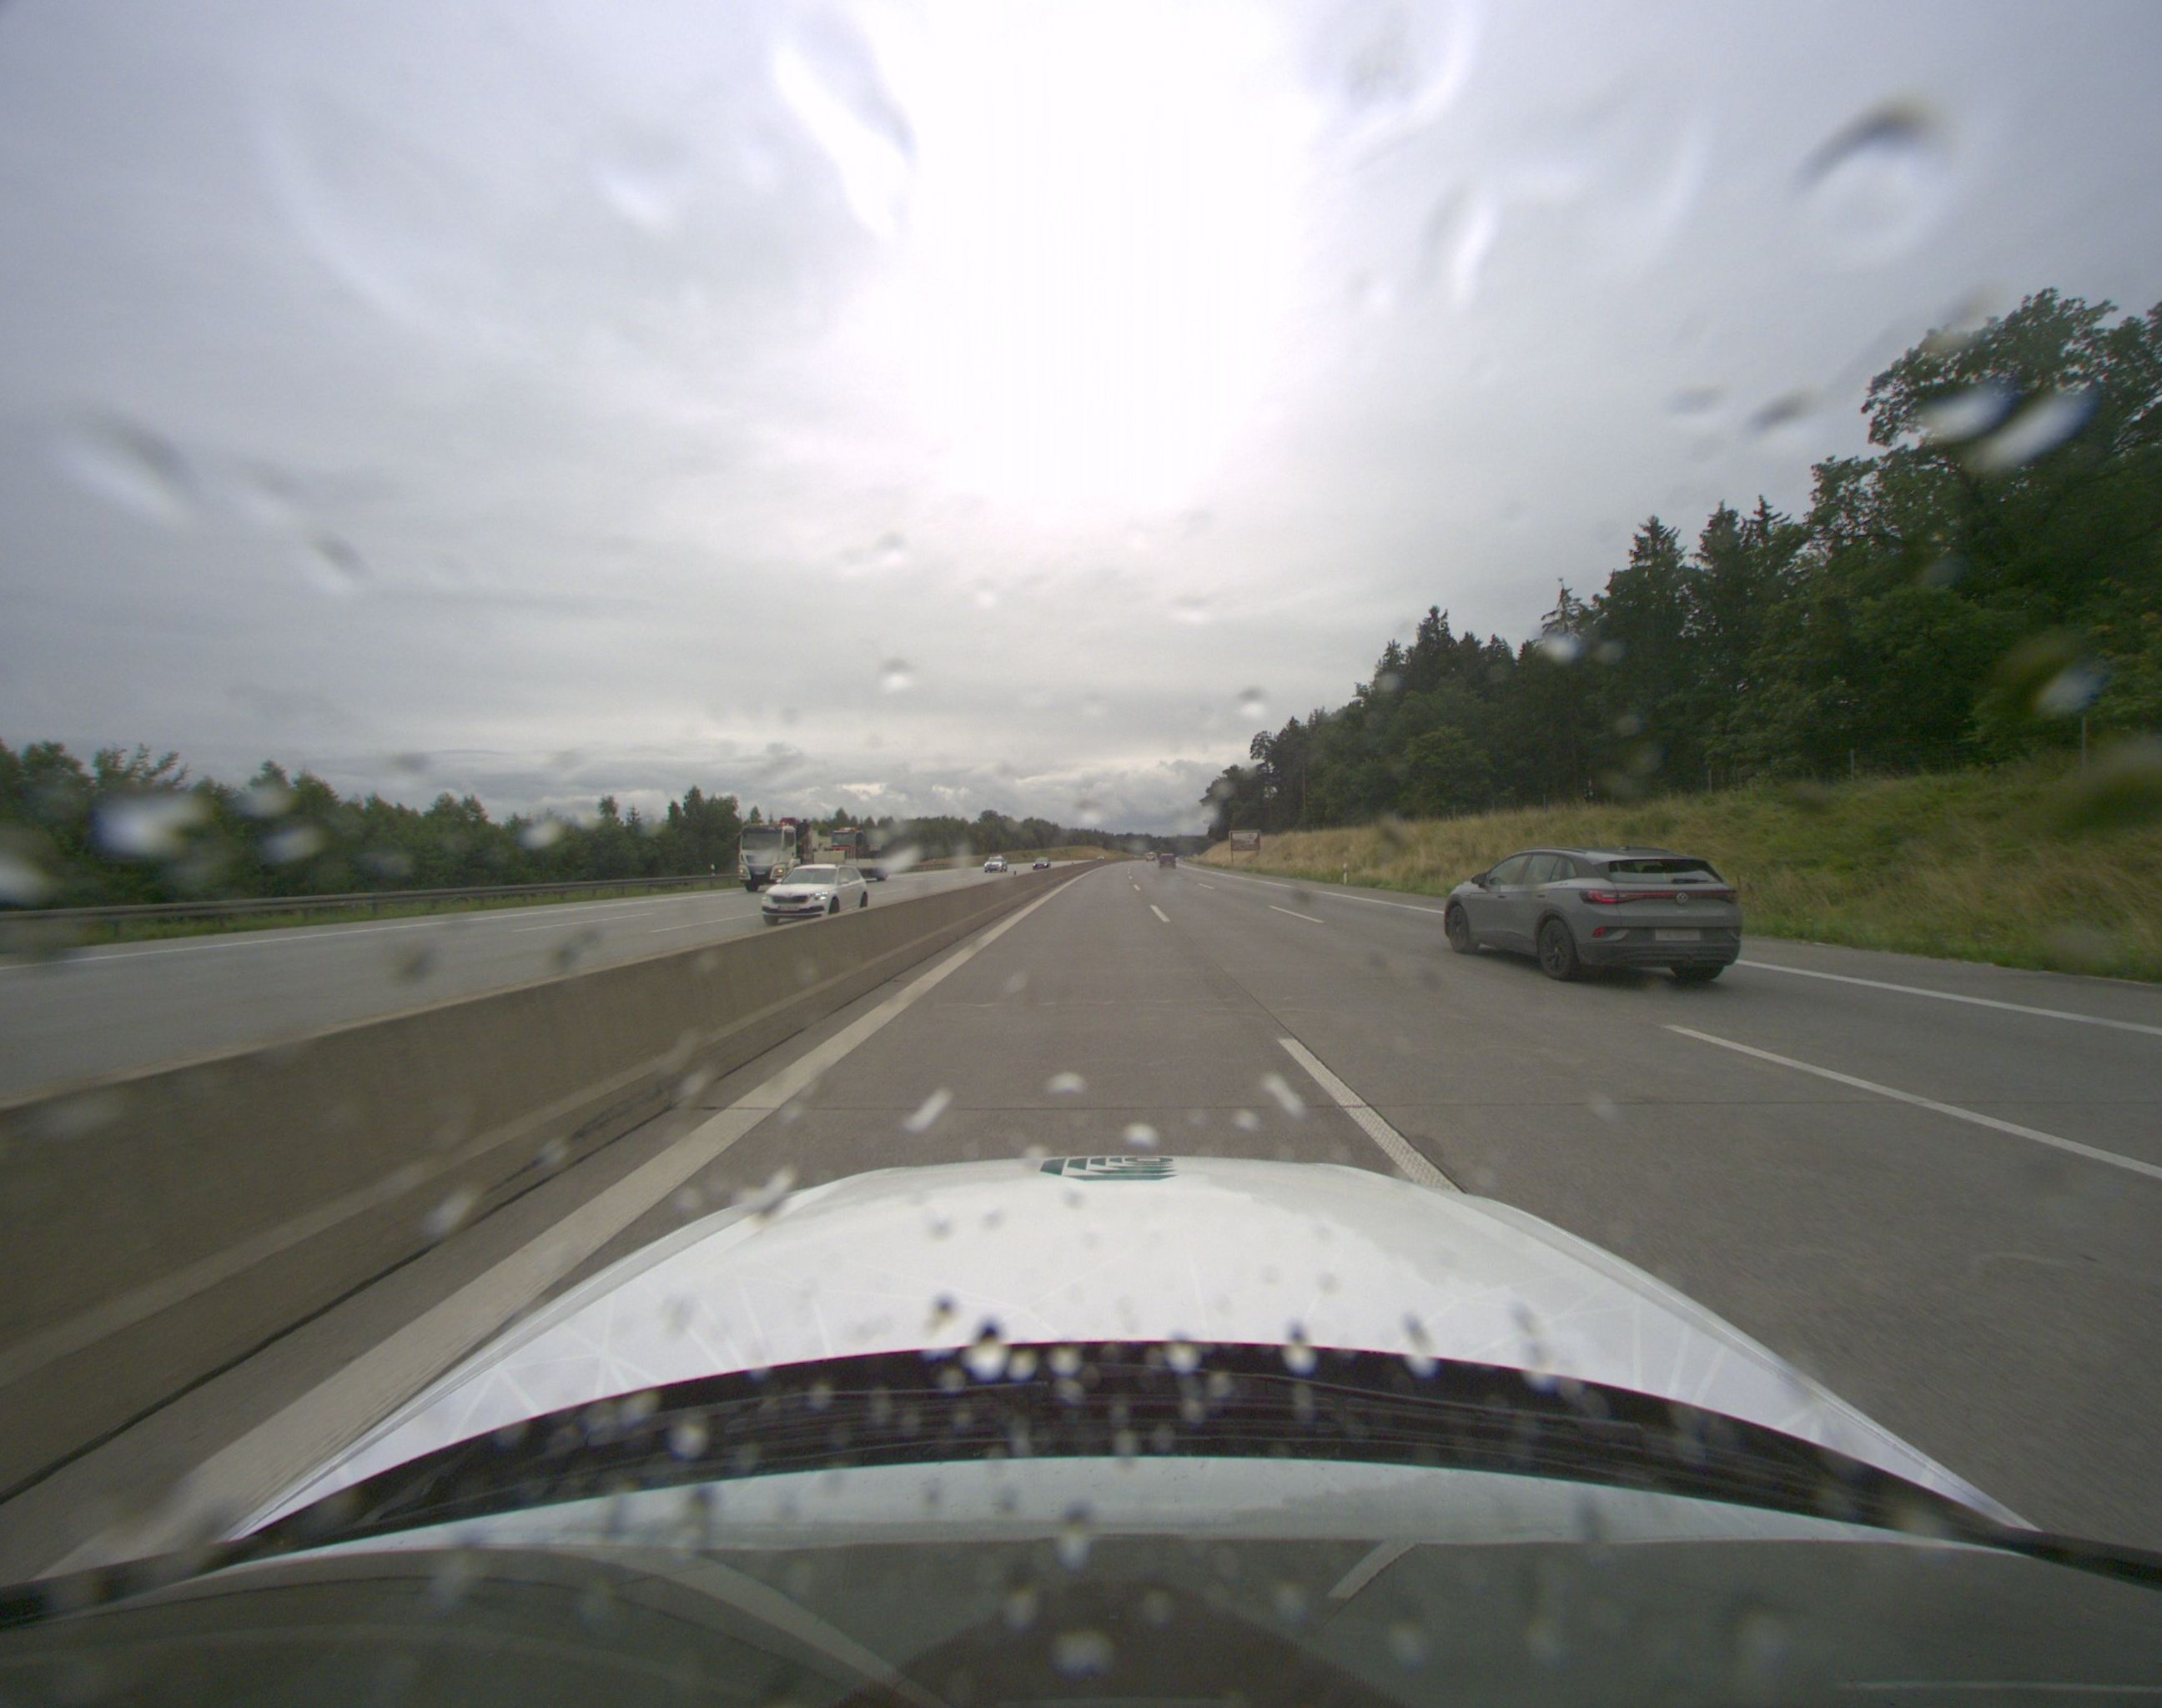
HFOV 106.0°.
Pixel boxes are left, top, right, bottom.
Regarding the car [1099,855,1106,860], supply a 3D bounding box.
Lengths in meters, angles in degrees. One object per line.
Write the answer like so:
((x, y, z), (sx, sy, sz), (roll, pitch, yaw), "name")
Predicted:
((6.217, 1.073, 237.479), (1.760, 1.232, 3.959), (0, 1, 4), "car")

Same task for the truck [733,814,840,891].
((-15.201, -0.089, 42.731), (2.576, 3.652, 7.663), (-1, 0, 1), "truck")

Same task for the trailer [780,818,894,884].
((-14.929, -0.119, 51.394), (2.577, 3.543, 13.727), (-1, 0, 2), "trailer")

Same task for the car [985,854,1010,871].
((-8.355, 0.812, 82.046), (1.755, 1.586, 4.762), (0, 1, 4), "car")

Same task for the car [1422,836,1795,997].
((6.661, 0.624, 11.223), (1.891, 1.689, 5.269), (0, 1, 2), "car")

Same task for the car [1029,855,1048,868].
((-4.832, 0.857, 93.098), (1.756, 1.267, 4.493), (-3, -2, 1), "car")

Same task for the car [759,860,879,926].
((-6.966, 0.970, 22.133), (1.708, 1.420, 4.216), (2, 1, 2), "car")

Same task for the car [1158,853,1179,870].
((9.983, 0.837, 92.850), (1.780, 1.746, 3.912), (-4, 1, -2), "car")

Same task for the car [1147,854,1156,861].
((16.433, 0.804, 190.126), (1.835, 1.500, 4.001), (-4, 1, 1), "car")
